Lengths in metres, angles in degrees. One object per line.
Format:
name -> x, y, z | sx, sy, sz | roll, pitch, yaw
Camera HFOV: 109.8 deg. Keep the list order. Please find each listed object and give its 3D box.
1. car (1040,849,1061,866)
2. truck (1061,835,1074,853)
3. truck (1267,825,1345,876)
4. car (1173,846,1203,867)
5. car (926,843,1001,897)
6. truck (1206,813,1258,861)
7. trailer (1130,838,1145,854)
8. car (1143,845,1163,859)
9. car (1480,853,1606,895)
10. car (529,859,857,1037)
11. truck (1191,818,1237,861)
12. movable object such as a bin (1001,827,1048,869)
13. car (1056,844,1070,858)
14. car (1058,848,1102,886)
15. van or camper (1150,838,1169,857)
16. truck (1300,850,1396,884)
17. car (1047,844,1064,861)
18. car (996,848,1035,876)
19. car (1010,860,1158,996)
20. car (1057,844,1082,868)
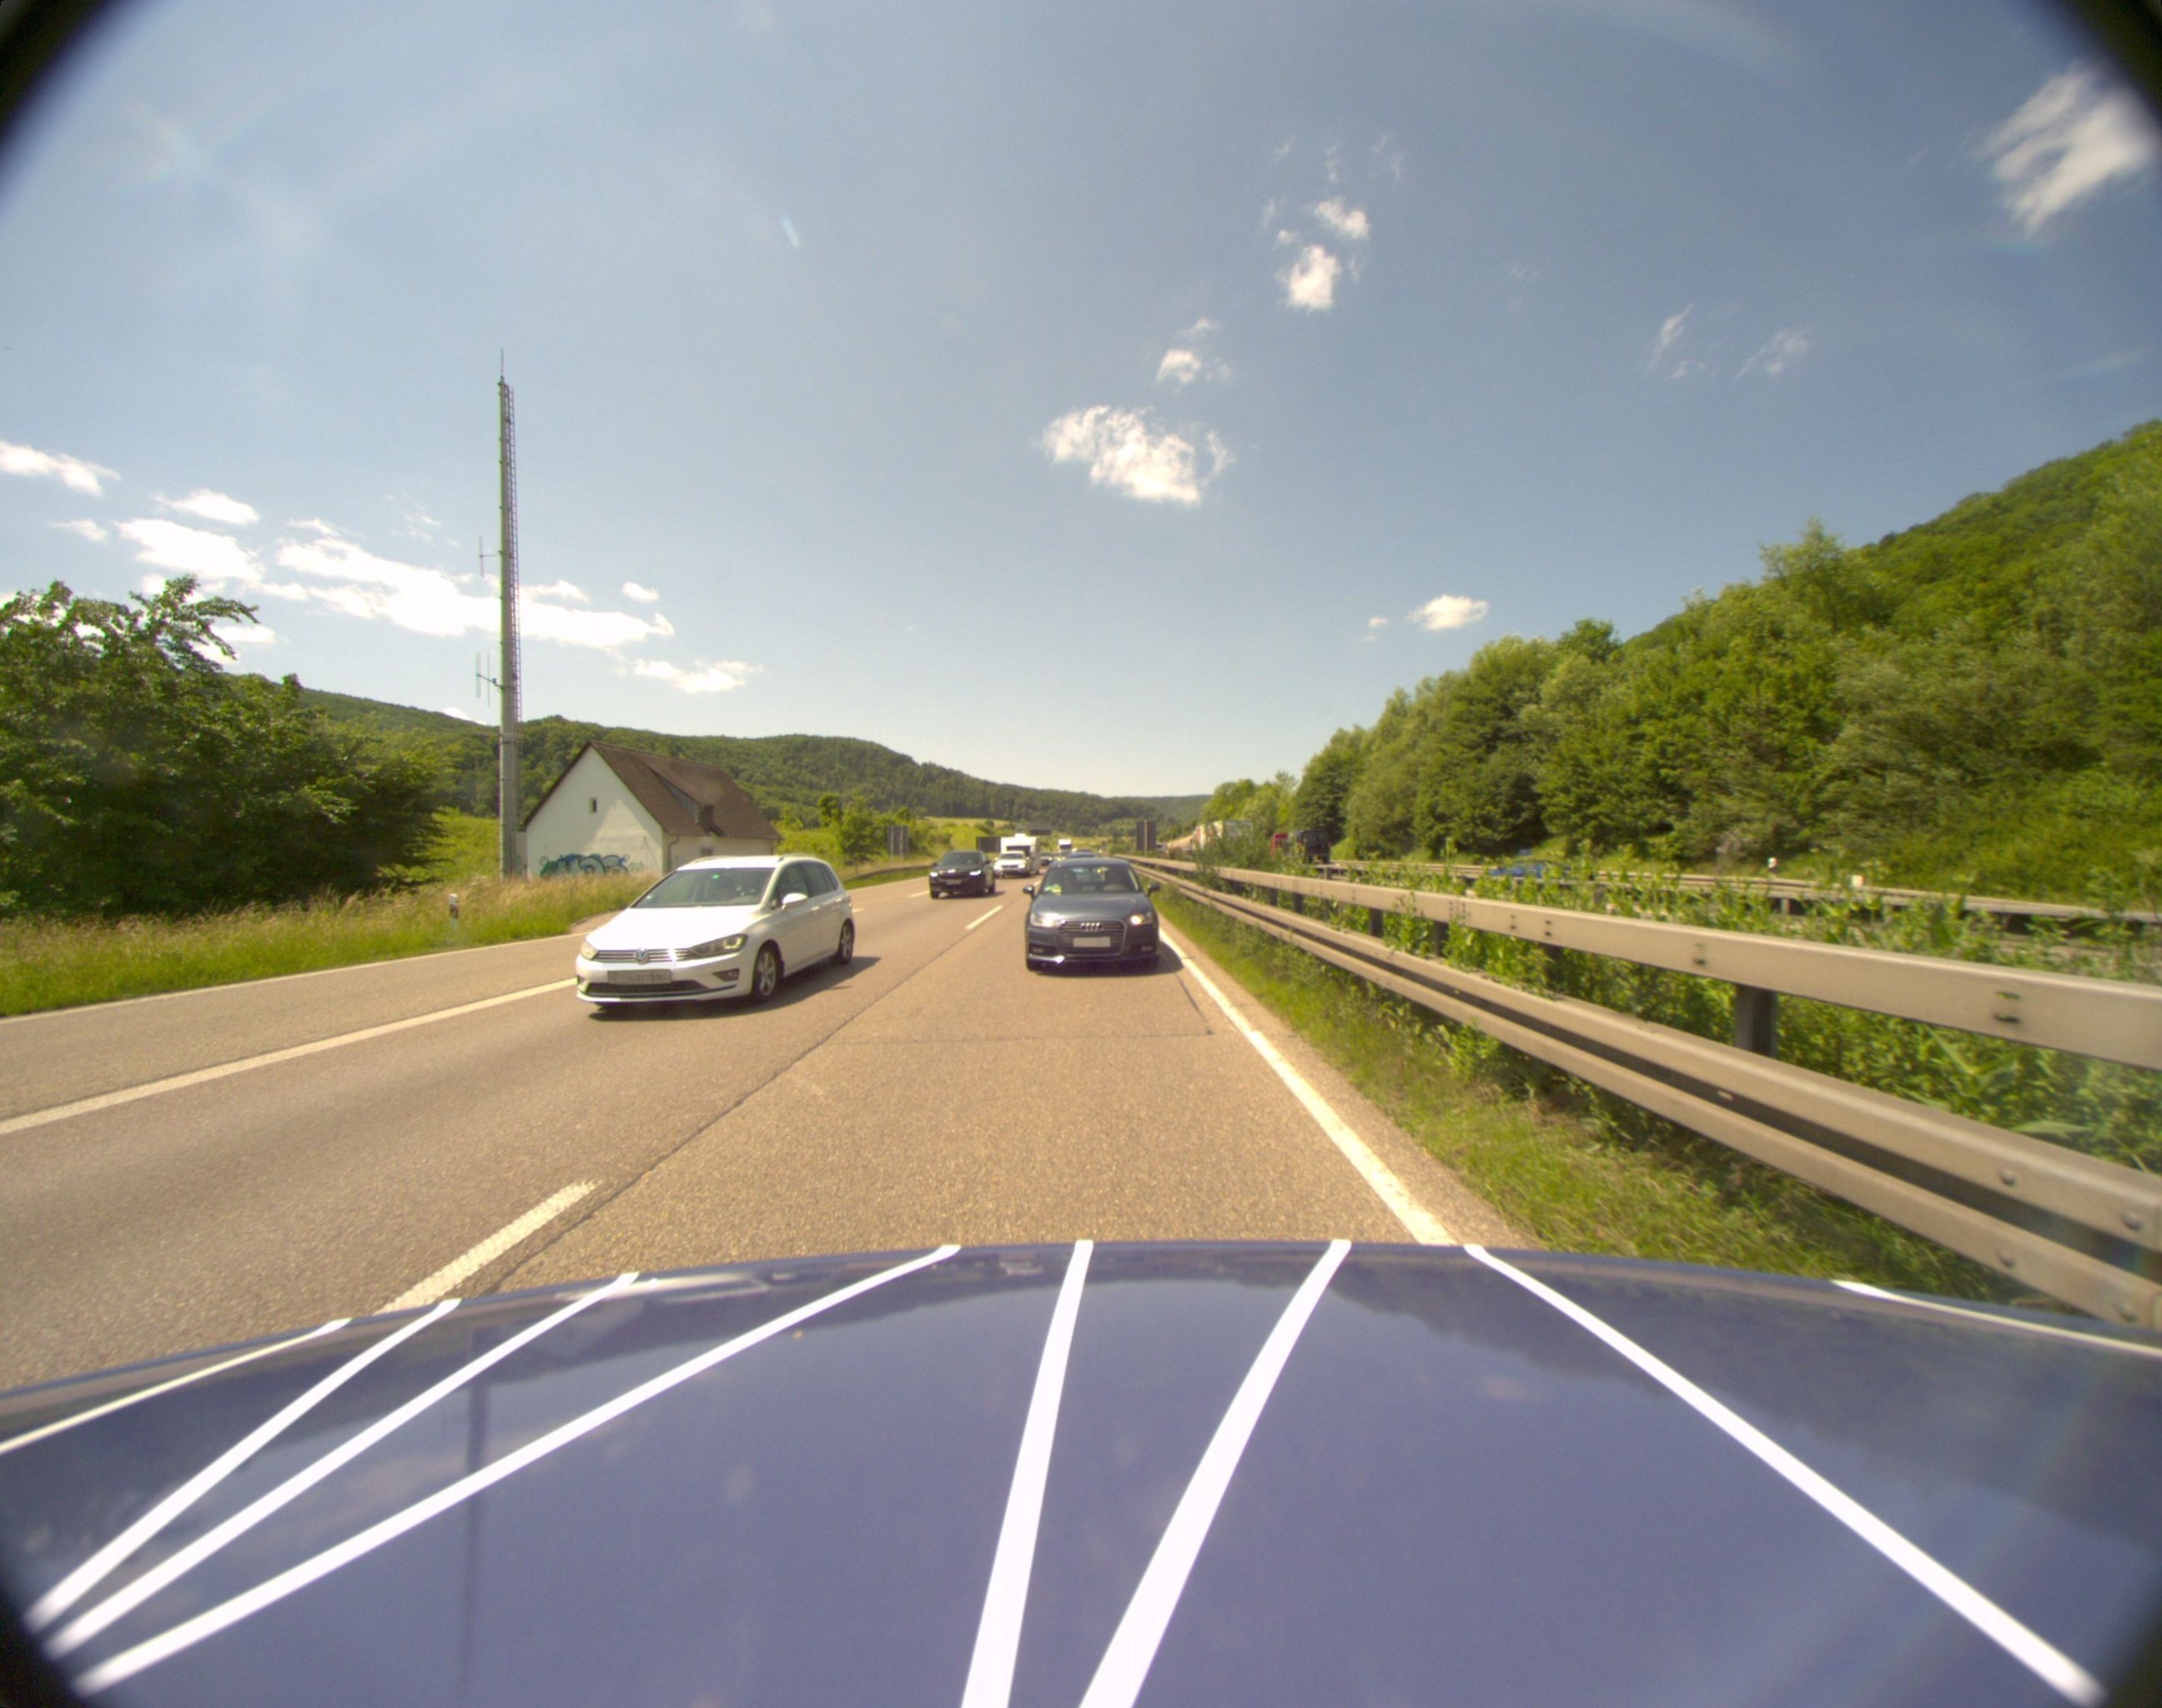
car -> -2.882, 0.337, 72.091 | 1.711, 1.542, 4.000 | 0, 0, 1
truck -> -2.764, -1.969, 156.277 | 2.336, 3.623, 7.005 | -1, 1, 1
truck -> 12.398, -0.219, 42.567 | 2.301, 2.573, 7.968 | -1, 1, 2
car -> 8.330, 0.196, 59.498 | 1.781, 1.589, 3.999 | -1, 1, 0
car -> -4.107, 0.528, 27.179 | 1.893, 1.762, 4.171 | 0, 0, 2
truck -> 13.299, -1.431, 67.735 | 2.876, 3.958, 9.030 | 1, 1, 0
trailer -> 13.801, -1.925, 187.384 | 2.789, 3.976, 14.159 | 0, 0, 1
car -> 8.784, -0.271, 92.463 | 1.998, 1.631, 5.031 | -1, 1, 1
car -> 16.496, 0.654, 27.398 | 1.999, 1.348, 4.106 | -1, 1, -1
car -> -4.132, 0.872, 8.962 | 1.777, 1.532, 4.053 | -1, 1, -1
truck -> 13.381, -1.442, 77.366 | 2.876, 3.983, 10.169 | -1, 1, 0
movable object such as a bin -> -3.755, -0.400, 52.026 | 2.481, 2.616, 6.708 | -1, 1, 1
car -> -2.609, -0.452, 111.976 | 1.998, 2.002, 3.999 | -1, 1, 0
car -> 0.019, 0.525, 34.060 | 1.835, 1.587, 4.000 | -1, 1, 2
van or camper -> 14.455, -1.216, 140.568 | 2.597, 3.316, 7.646 | 0, 1, -1
truck -> 12.122, 0.522, 35.071 | 2.214, 1.326, 7.010 | -1, 1, 2
car -> -3.066, -0.237, 91.551 | 1.999, 2.002, 3.999 | -1, 1, -2
car -> -3.853, 0.436, 45.242 | 1.821, 1.574, 4.000 | -1, 1, 1
car -> 0.165, 0.826, 10.279 | 1.591, 1.402, 4.001 | -1, 1, 4
car -> -0.982, 0.139, 66.402 | 1.998, 2.002, 4.000 | -1, 1, 2
